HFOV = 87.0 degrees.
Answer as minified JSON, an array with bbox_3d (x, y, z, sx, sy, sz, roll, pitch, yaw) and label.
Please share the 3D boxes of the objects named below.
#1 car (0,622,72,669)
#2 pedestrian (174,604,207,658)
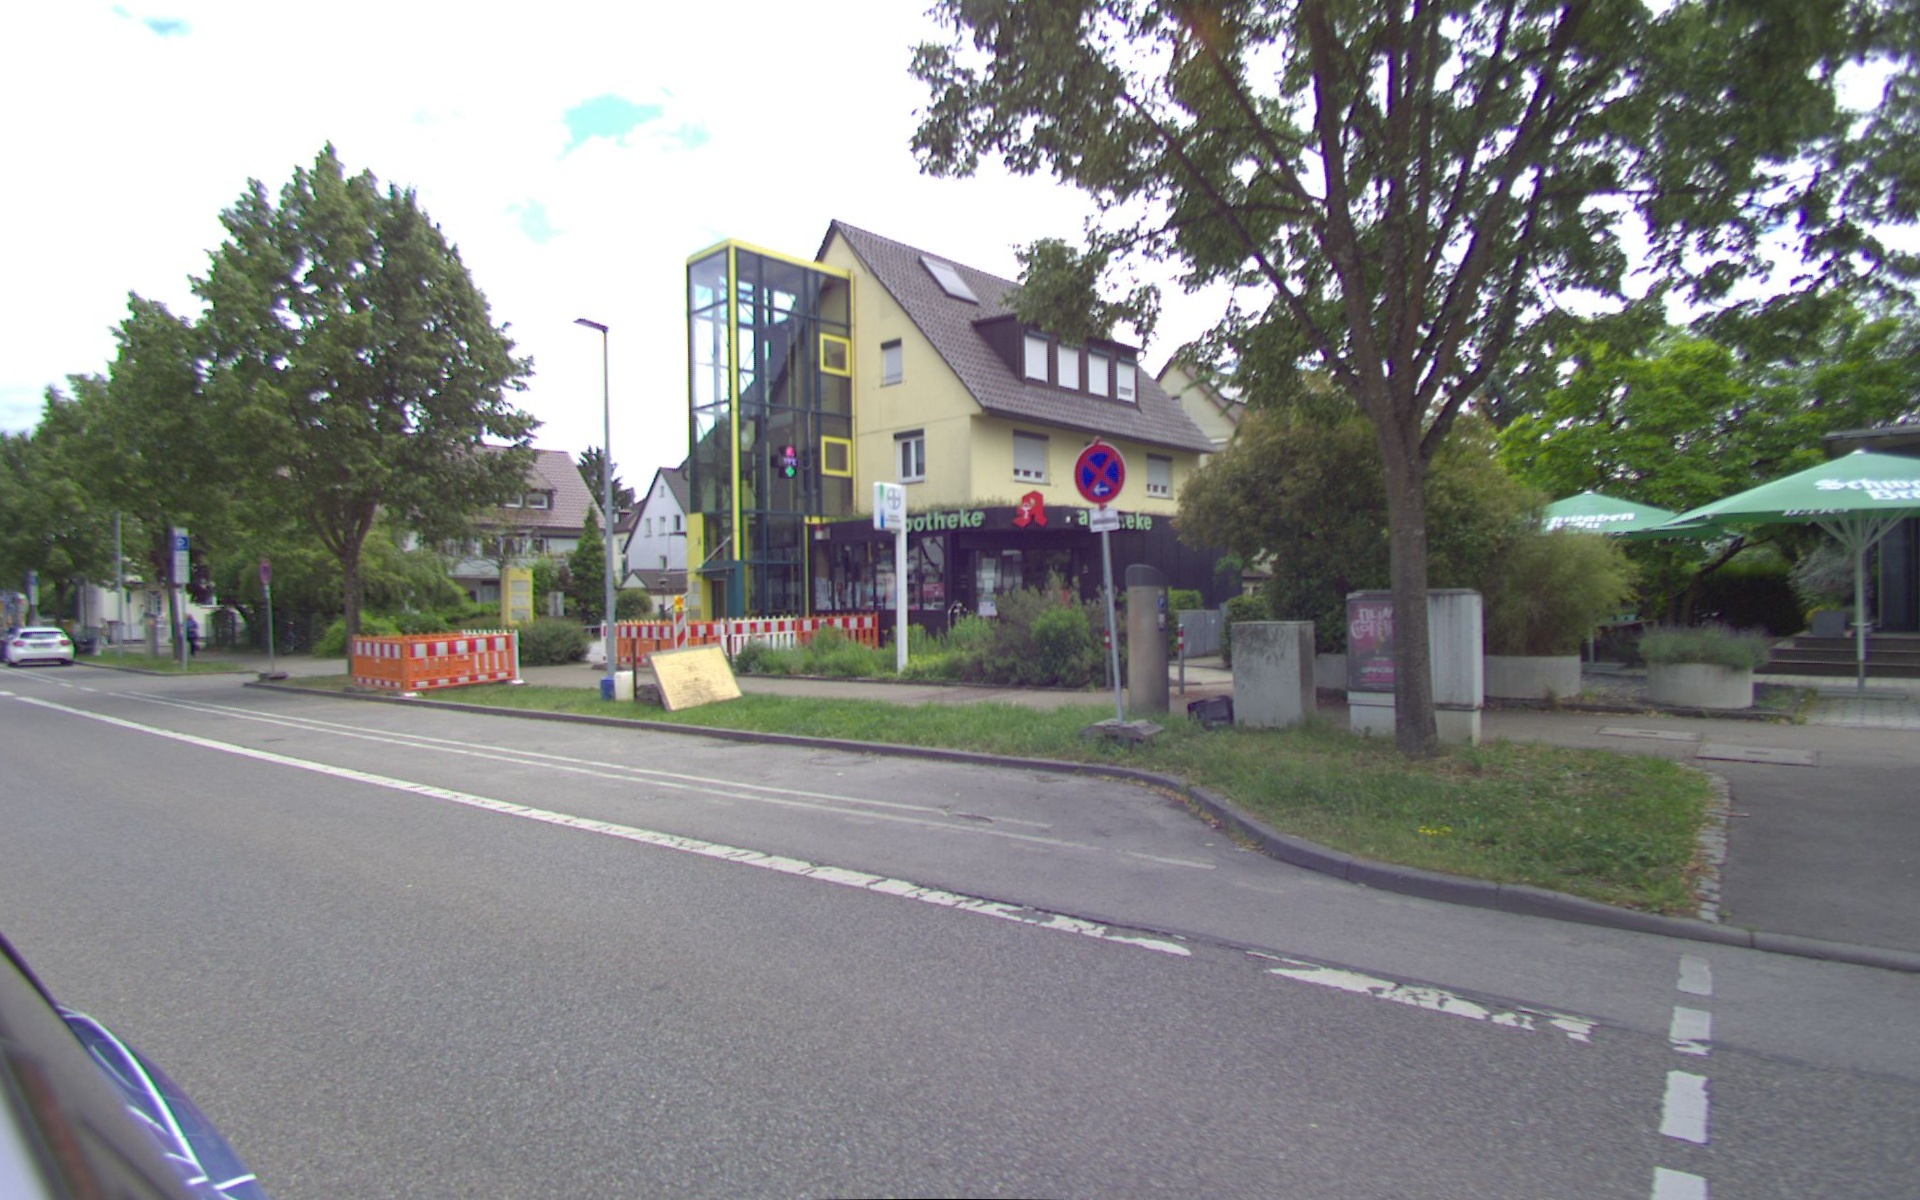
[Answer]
[{"bbox_3d":[-33.977,1.643,37.198,1.864,1.586,4.004,0,-1,-43],"label":"car"},{"bbox_3d":[-29.560,1.195,38.869,0.997,2.029,0.816,-2,-1,39],"label":"pedestrian"}]
